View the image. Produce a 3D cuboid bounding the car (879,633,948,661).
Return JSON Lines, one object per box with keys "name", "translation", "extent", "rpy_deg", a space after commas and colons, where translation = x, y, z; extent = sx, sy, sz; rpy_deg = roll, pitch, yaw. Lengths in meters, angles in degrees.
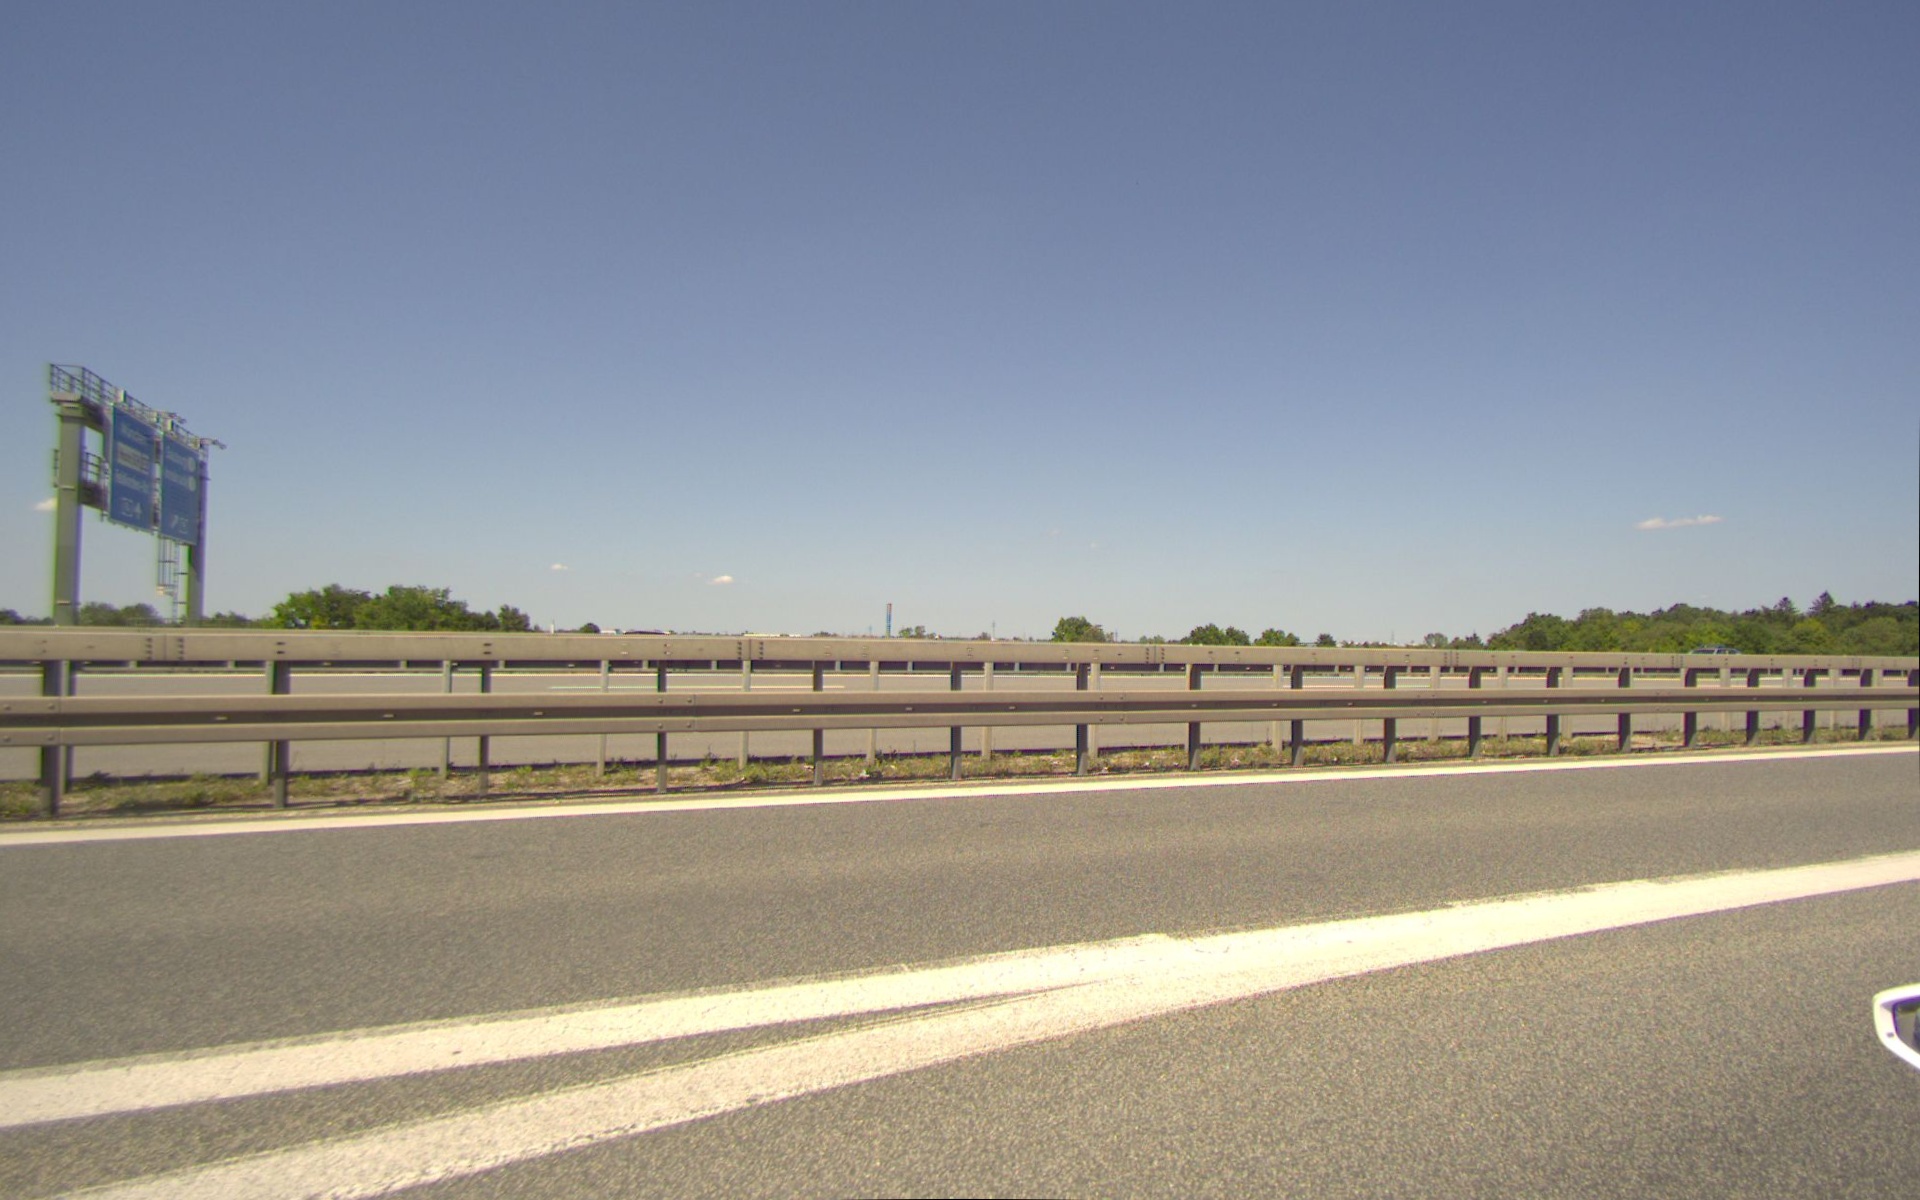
{"name": "car", "translation": [-2.634, 2.672, 57.084], "extent": [3.566, 1.374, 1.620], "rpy_deg": [4, -3, -23]}
